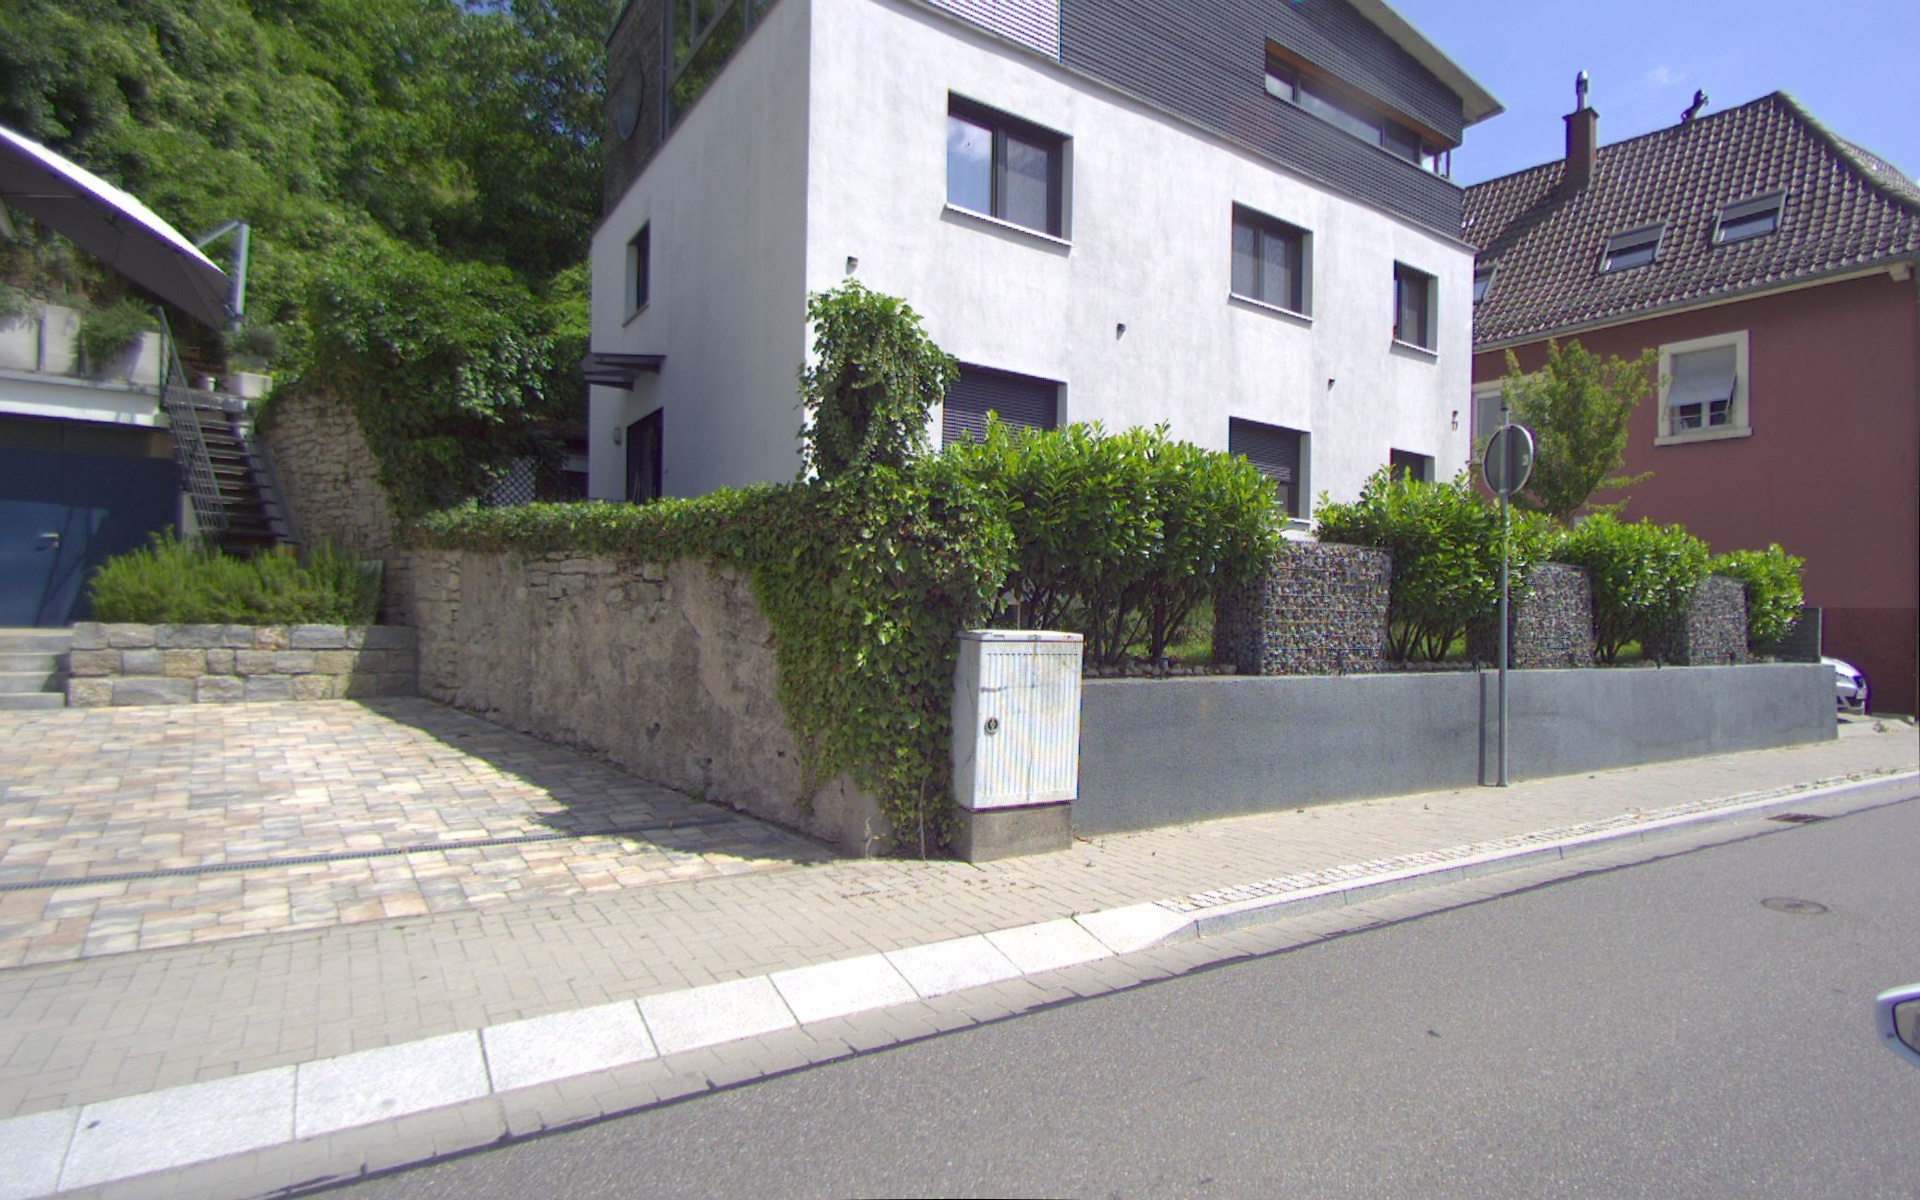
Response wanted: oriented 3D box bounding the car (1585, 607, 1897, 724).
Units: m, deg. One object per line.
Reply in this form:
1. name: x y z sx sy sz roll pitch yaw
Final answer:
1. car: 12.347 0.945 16.122 1.632 1.425 3.548 1 3 -29
